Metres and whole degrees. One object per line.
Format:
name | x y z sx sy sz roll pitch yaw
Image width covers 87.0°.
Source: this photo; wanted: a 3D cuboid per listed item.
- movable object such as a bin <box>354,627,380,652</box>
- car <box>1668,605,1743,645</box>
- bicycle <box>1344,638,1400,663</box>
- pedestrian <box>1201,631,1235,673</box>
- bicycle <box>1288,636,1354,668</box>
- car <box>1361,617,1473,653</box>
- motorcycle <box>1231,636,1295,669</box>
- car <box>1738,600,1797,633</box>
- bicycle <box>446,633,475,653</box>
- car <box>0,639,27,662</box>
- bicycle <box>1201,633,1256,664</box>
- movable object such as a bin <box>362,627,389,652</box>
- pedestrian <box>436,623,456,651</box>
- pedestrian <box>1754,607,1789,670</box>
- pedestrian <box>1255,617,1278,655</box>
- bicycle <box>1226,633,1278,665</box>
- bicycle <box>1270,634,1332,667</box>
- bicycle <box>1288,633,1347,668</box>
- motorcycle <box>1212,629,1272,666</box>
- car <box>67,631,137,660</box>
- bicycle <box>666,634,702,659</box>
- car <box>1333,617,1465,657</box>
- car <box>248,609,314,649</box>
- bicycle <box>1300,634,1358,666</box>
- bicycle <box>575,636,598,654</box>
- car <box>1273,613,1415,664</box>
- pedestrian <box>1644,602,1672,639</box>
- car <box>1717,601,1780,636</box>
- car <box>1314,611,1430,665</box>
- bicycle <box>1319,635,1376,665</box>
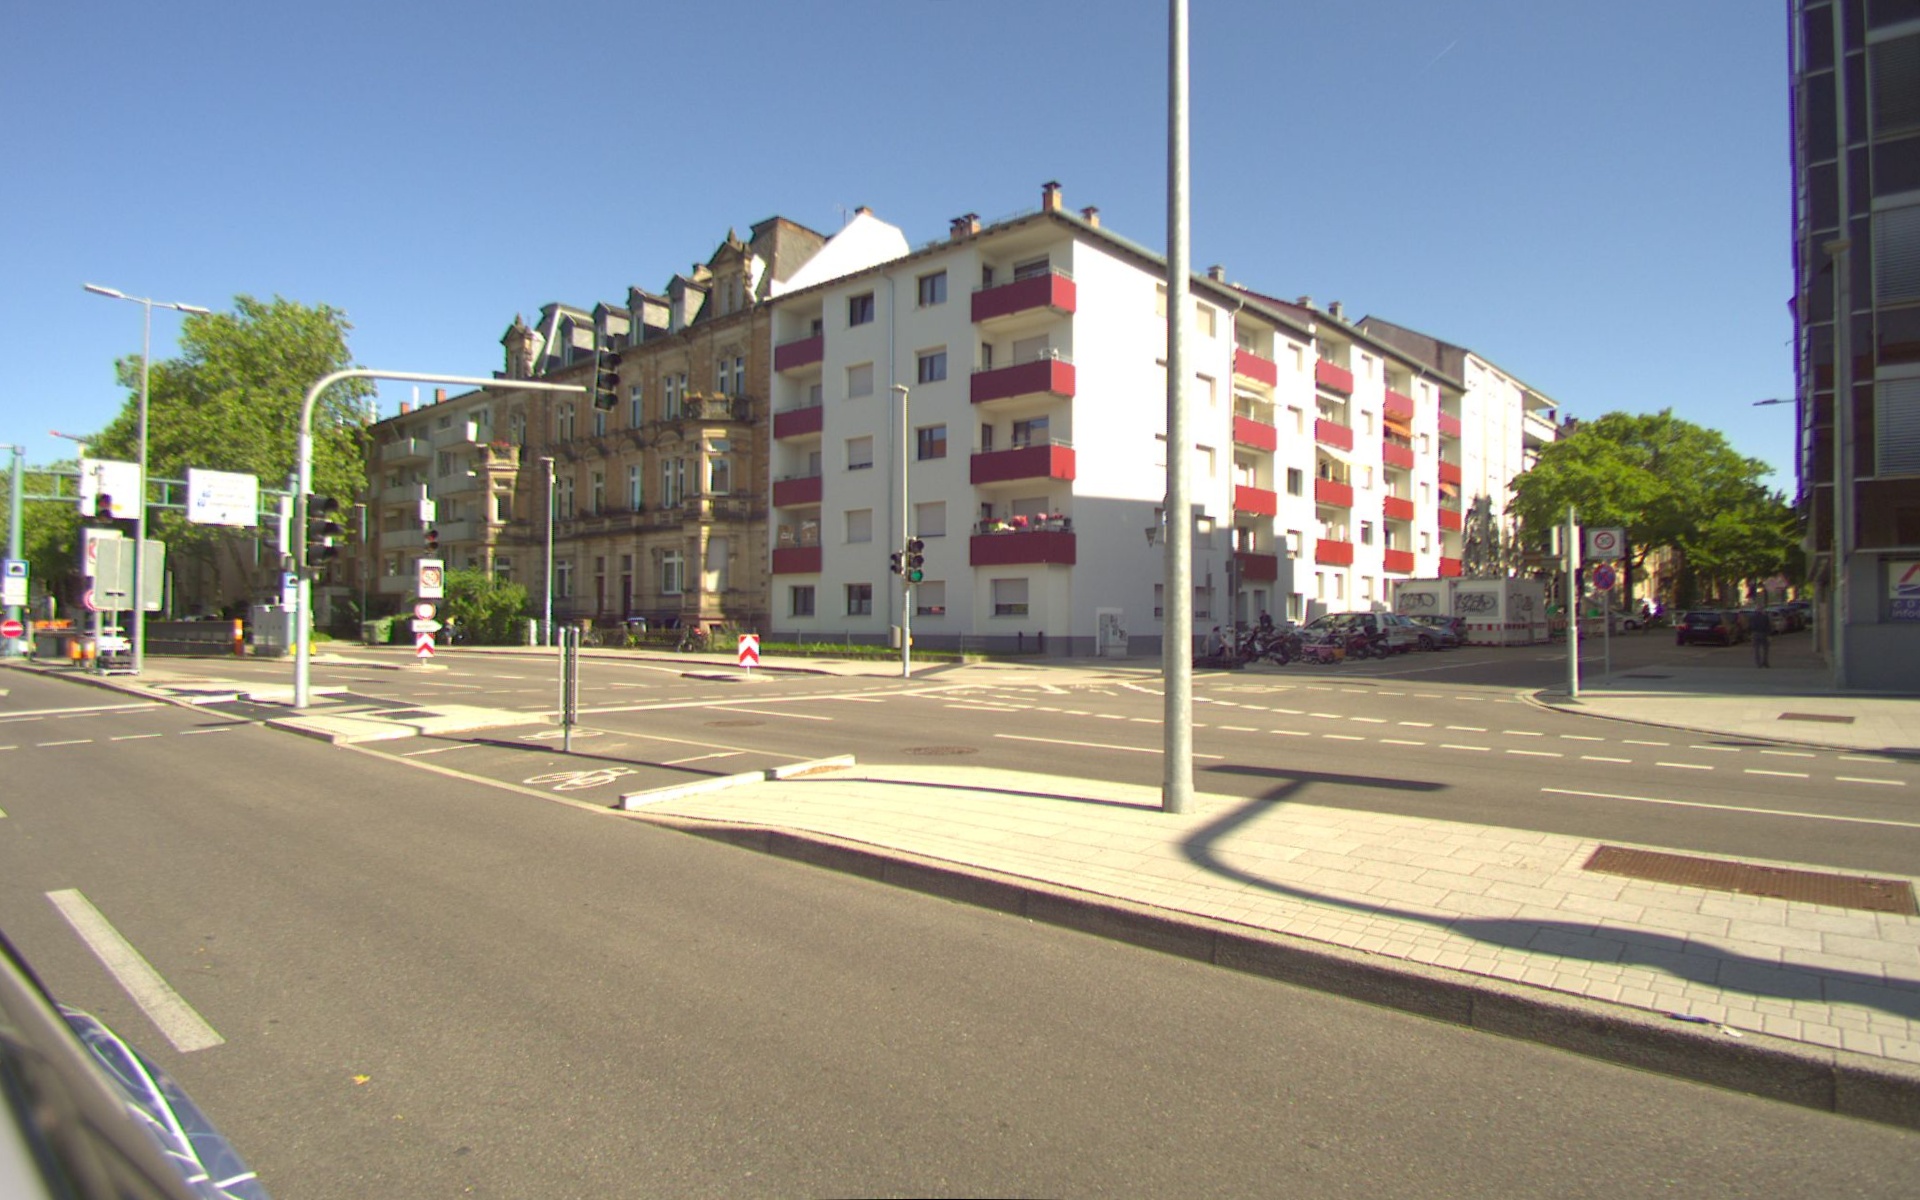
movable object such as a bin | -34.605 2.318 59.079 1.313 1.373 0.884 -3 -5 39
car | 31.376 1.033 42.564 2.001 1.614 3.941 -2 -2 45
bicycle | 13.929 1.705 34.276 1.709 0.820 0.412 0 -2 17
pedestrian | 7.217 1.442 28.314 0.785 1.162 0.712 -1 -2 28
bicycle | 11.226 1.606 31.553 0.471 0.955 1.954 1 -2 -41
car | 19.478 1.474 43.245 4.000 1.473 1.823 -2 -2 43
motorcycle | 9.112 1.572 30.493 0.497 0.943 1.844 1 -2 -42
car | 45.723 0.916 57.258 3.939 1.786 2.002 0 -1 -43
bicycle | -25.797 2.233 52.263 2.247 1.013 0.462 -2 -1 39
car | -65.300 3.508 68.925 4.385 1.464 1.974 -3 -1 39
bicycle | 8.968 1.608 33.880 0.567 0.976 1.737 1 -2 -45
movable object such as a bin | -33.588 2.271 58.126 1.473 1.371 0.883 -3 -5 42
pedestrian | -26.448 1.906 52.070 1.089 1.388 0.561 -2 -2 39
pedestrian | 21.878 1.030 27.296 0.700 1.670 0.736 -2 -2 39
pedestrian | 12.376 1.459 40.901 0.695 1.508 0.593 -1 -2 44
bicycle | 10.169 1.686 35.293 0.567 1.066 1.691 1 -2 -45
bicycle | 10.560 1.545 31.393 0.500 0.985 1.890 1 -2 -33
bicycle | 11.473 1.610 32.540 1.736 1.077 0.483 -2 -2 43
motorcycle | 8.923 1.495 32.079 0.604 1.150 1.786 1 -2 -41
car | -42.990 2.295 50.686 4.311 1.356 1.912 -3 -3 39
bicycle | -10.827 1.811 39.658 1.939 0.965 0.301 -2 -2 41
car | 17.753 1.465 41.067 4.575 1.541 1.740 -2 -2 43
car | -44.313 1.933 65.968 5.284 2.465 2.221 -3 -5 41
bicycle | 12.153 1.634 33.355 0.502 1.011 1.737 1 -2 -45
bicycle | -16.431 1.964 44.487 1.413 0.777 0.296 -2 -2 41
car | 14.155 1.396 37.474 1.970 1.744 4.483 1 -2 -43
pedestrian | 38.601 1.143 55.971 1.149 2.029 1.436 -1 -2 39
car | 42.194 0.964 54.118 3.939 1.786 2.002 0 -1 -43
car | 15.827 1.444 39.006 3.793 1.970 1.678 -1 -2 43
bicycle | 12.932 1.659 33.770 1.723 0.955 0.453 -1 -2 43
